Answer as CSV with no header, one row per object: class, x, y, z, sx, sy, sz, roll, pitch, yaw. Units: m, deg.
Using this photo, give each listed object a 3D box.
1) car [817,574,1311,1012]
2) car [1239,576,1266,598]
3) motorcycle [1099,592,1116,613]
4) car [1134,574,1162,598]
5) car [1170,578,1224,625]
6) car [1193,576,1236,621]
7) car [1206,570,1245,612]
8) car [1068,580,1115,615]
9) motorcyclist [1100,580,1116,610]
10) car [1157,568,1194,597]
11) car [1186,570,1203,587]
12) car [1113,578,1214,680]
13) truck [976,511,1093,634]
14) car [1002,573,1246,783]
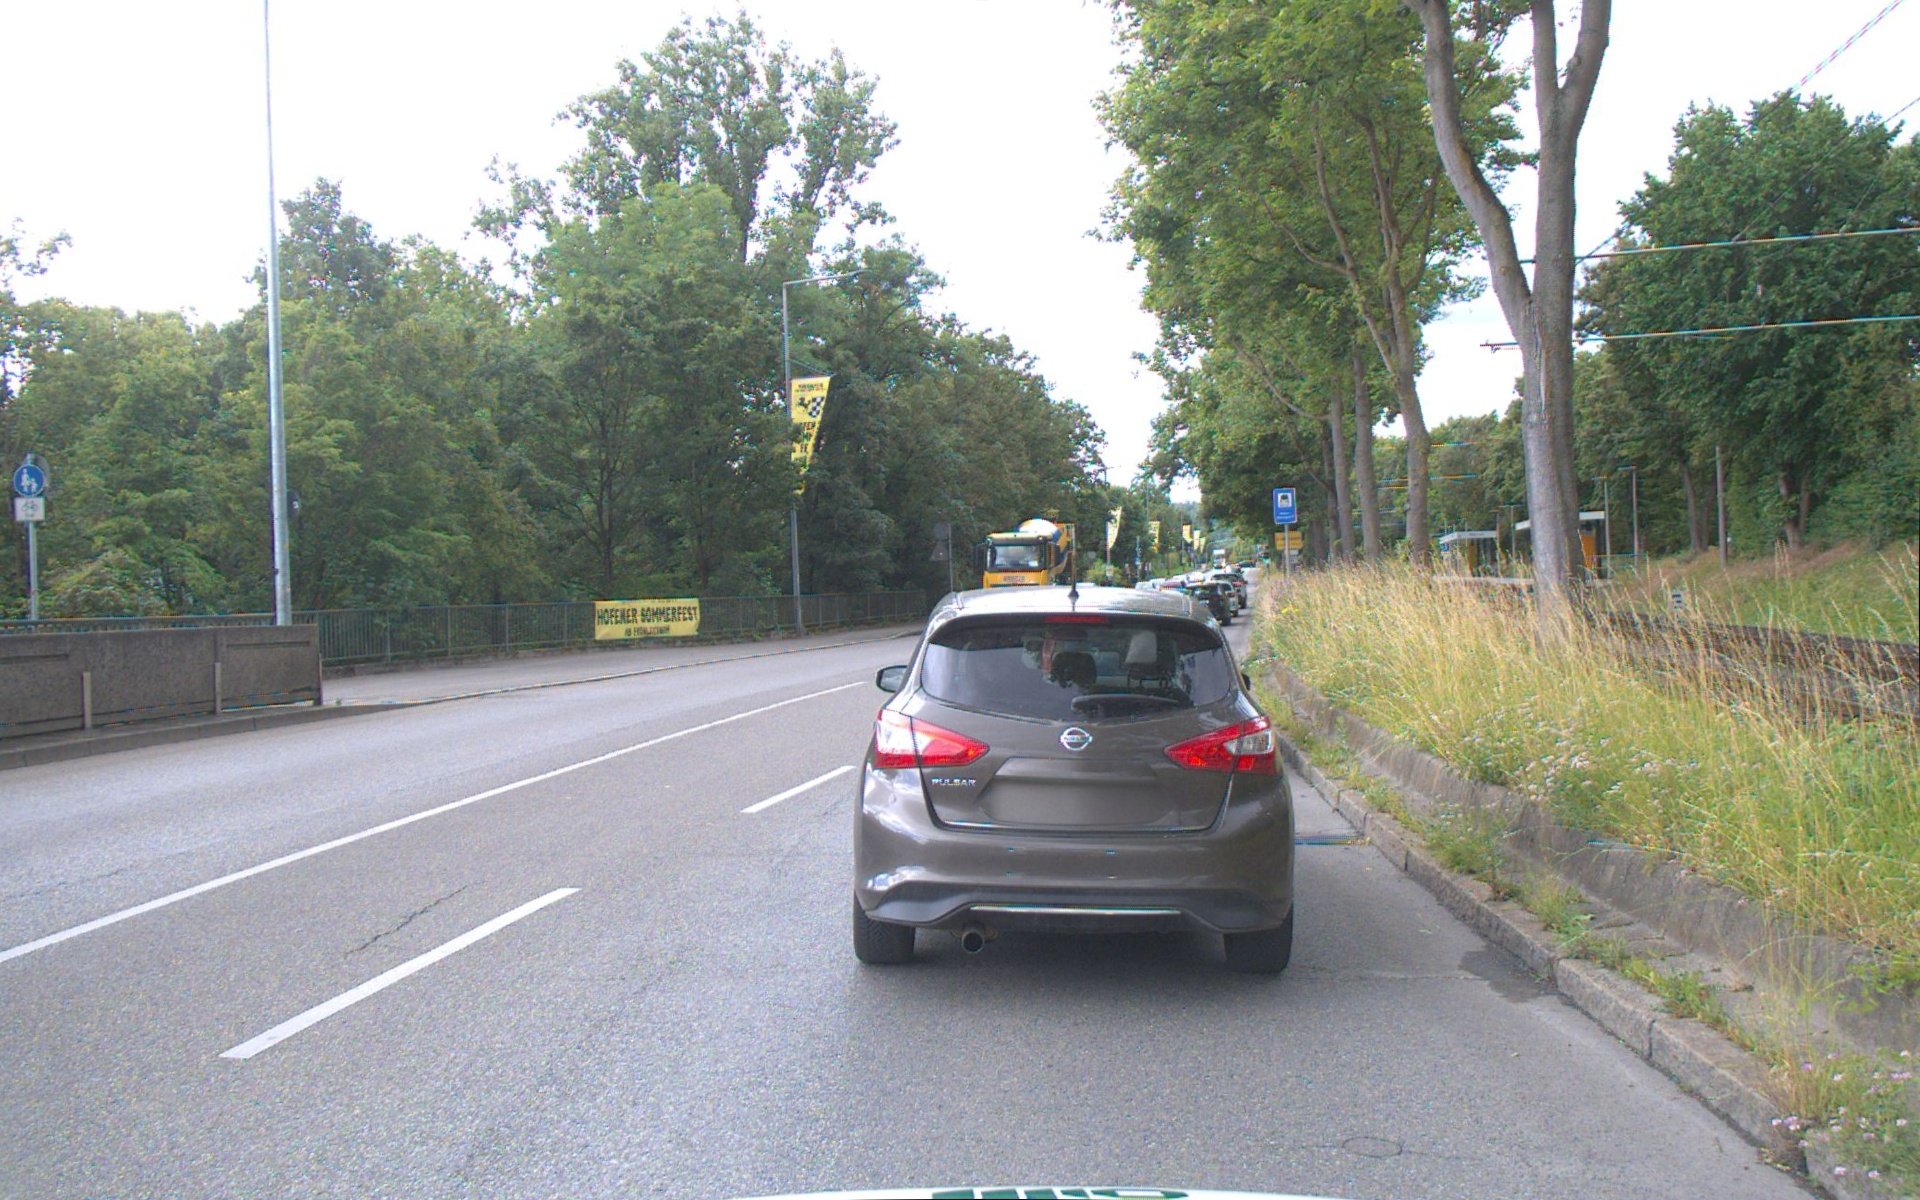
car,0.526,0.700,7.849,1.737,1.520,4.002,0,-1,5
car,21.025,-0.931,118.716,1.850,1.470,3.810,-1,0,11
motorcycle,7.839,0.128,87.850,0.729,1.051,1.890,-1,1,12
car,13.150,-0.949,115.278,1.684,1.467,4.003,-2,-2,10
car,8.215,0.064,57.124,1.766,1.567,4.003,0,0,9
car,10.661,-0.030,69.192,1.681,1.723,4.003,-2,-2,9
car,13.753,-0.472,85.459,1.850,2.049,4.004,-1,0,11
car,5.844,-0.125,73.367,1.729,1.505,4.004,0,1,9
motorcyclist,7.851,-0.288,87.849,0.729,1.566,0.791,-1,0,11
car,12.244,-0.948,93.785,1.812,1.512,4.424,-1,-1,11
car,26.687,-2.486,188.230,1.681,1.723,3.728,-2,-2,9
car,3.440,0.463,28.125,1.544,1.565,4.003,-2,0,6
truck,2.840,-0.928,58.975,2.598,4.007,10.120,0,0,12
car,1.369,0.626,14.690,1.853,1.601,4.001,0,-1,3
